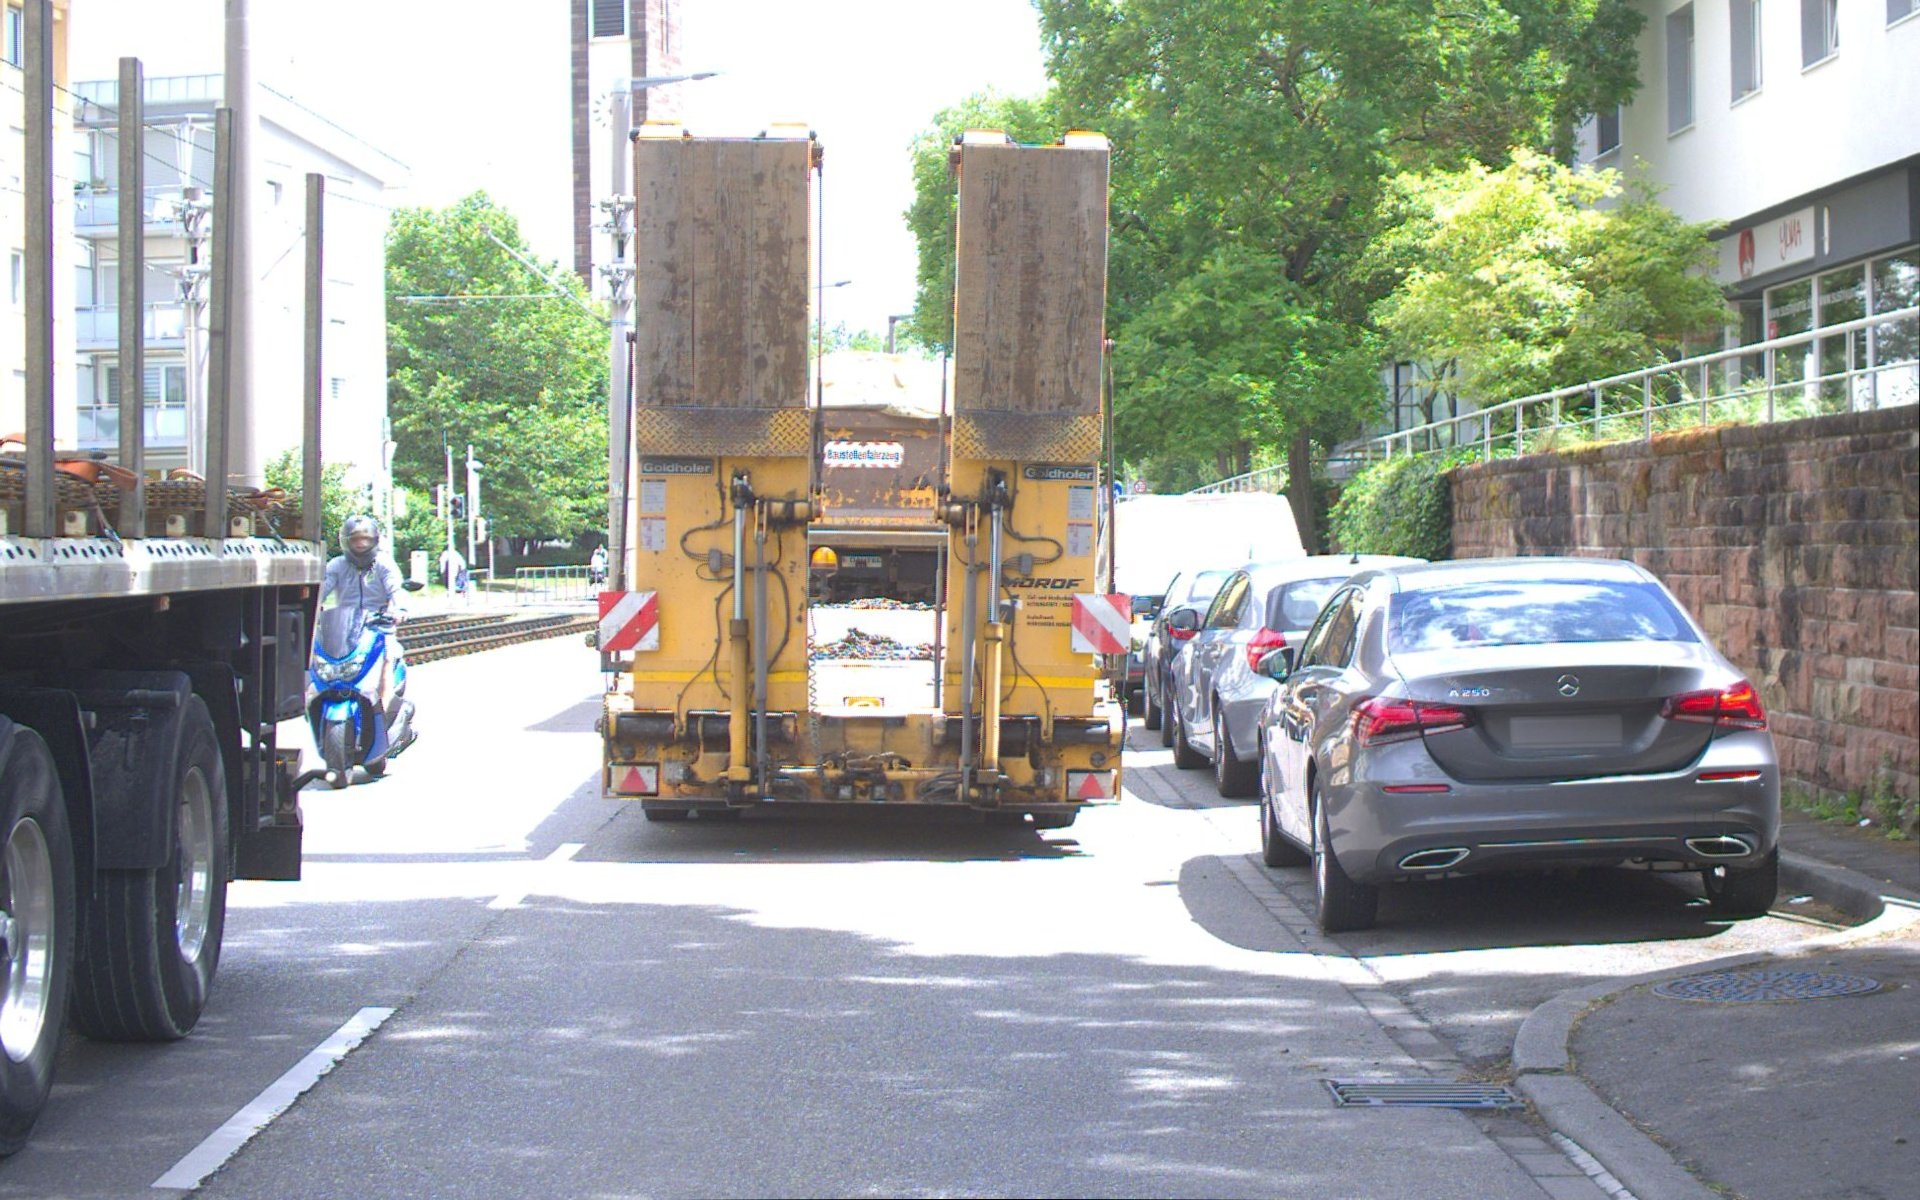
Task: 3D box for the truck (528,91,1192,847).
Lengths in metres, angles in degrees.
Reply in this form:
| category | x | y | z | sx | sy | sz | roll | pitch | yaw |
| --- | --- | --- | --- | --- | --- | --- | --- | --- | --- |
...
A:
| category | x | y | z | sx | sy | sz | roll | pitch | yaw |
| --- | --- | --- | --- | --- | --- | --- | --- | --- | --- |
| truck | -0.630 | -0.775 | 22.444 | 3.124 | 3.552 | 12.461 | 0 | 1 | -2 |

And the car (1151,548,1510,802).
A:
| category | x | y | z | sx | sy | sz | roll | pitch | yaw |
| --- | --- | --- | --- | --- | --- | --- | --- | --- | --- |
| car | 2.262 | 0.402 | 21.955 | 1.690 | 1.400 | 4.069 | -1 | 1 | -2 |

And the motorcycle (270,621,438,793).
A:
| category | x | y | z | sx | sy | sz | roll | pitch | yaw |
| --- | --- | --- | --- | --- | --- | --- | --- | --- | --- |
| motorcycle | -3.736 | 0.639 | 21.333 | 0.747 | 0.951 | 1.832 | 1 | 1 | -1 |

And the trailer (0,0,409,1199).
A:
| category | x | y | z | sx | sy | sz | roll | pitch | yaw |
| --- | --- | --- | --- | --- | --- | --- | --- | --- | --- |
| trailer | -3.265 | -0.458 | 5.536 | 2.698 | 3.568 | 13.676 | 1 | 1 | -1 |

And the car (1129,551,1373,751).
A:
| category | x | y | z | sx | sy | sz | roll | pitch | yaw |
| --- | --- | --- | --- | --- | --- | --- | --- | --- | --- |
| car | 2.231 | 0.347 | 27.140 | 1.621 | 1.400 | 3.650 | -1 | 1 | 1 |

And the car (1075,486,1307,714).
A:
| category | x | y | z | sx | sy | sz | roll | pitch | yaw |
| --- | --- | --- | --- | --- | --- | --- | --- | --- | --- |
| car | 2.105 | -0.056 | 32.500 | 1.799 | 1.961 | 4.590 | -1 | 1 | -1 |

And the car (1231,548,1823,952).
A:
| category | x | y | z | sx | sy | sz | roll | pitch | yaw |
| --- | --- | --- | --- | --- | --- | --- | --- | --- | --- |
| car | 2.254 | 0.518 | 14.822 | 1.836 | 1.400 | 4.414 | -1 | 1 | 1 |

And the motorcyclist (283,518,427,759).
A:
| category | x | y | z | sx | sy | sz | roll | pitch | yaw |
| --- | --- | --- | --- | --- | --- | --- | --- | --- | --- |
| motorcyclist | -3.741 | 0.221 | 21.313 | 0.747 | 1.462 | 0.887 | 0 | 1 | -1 |
